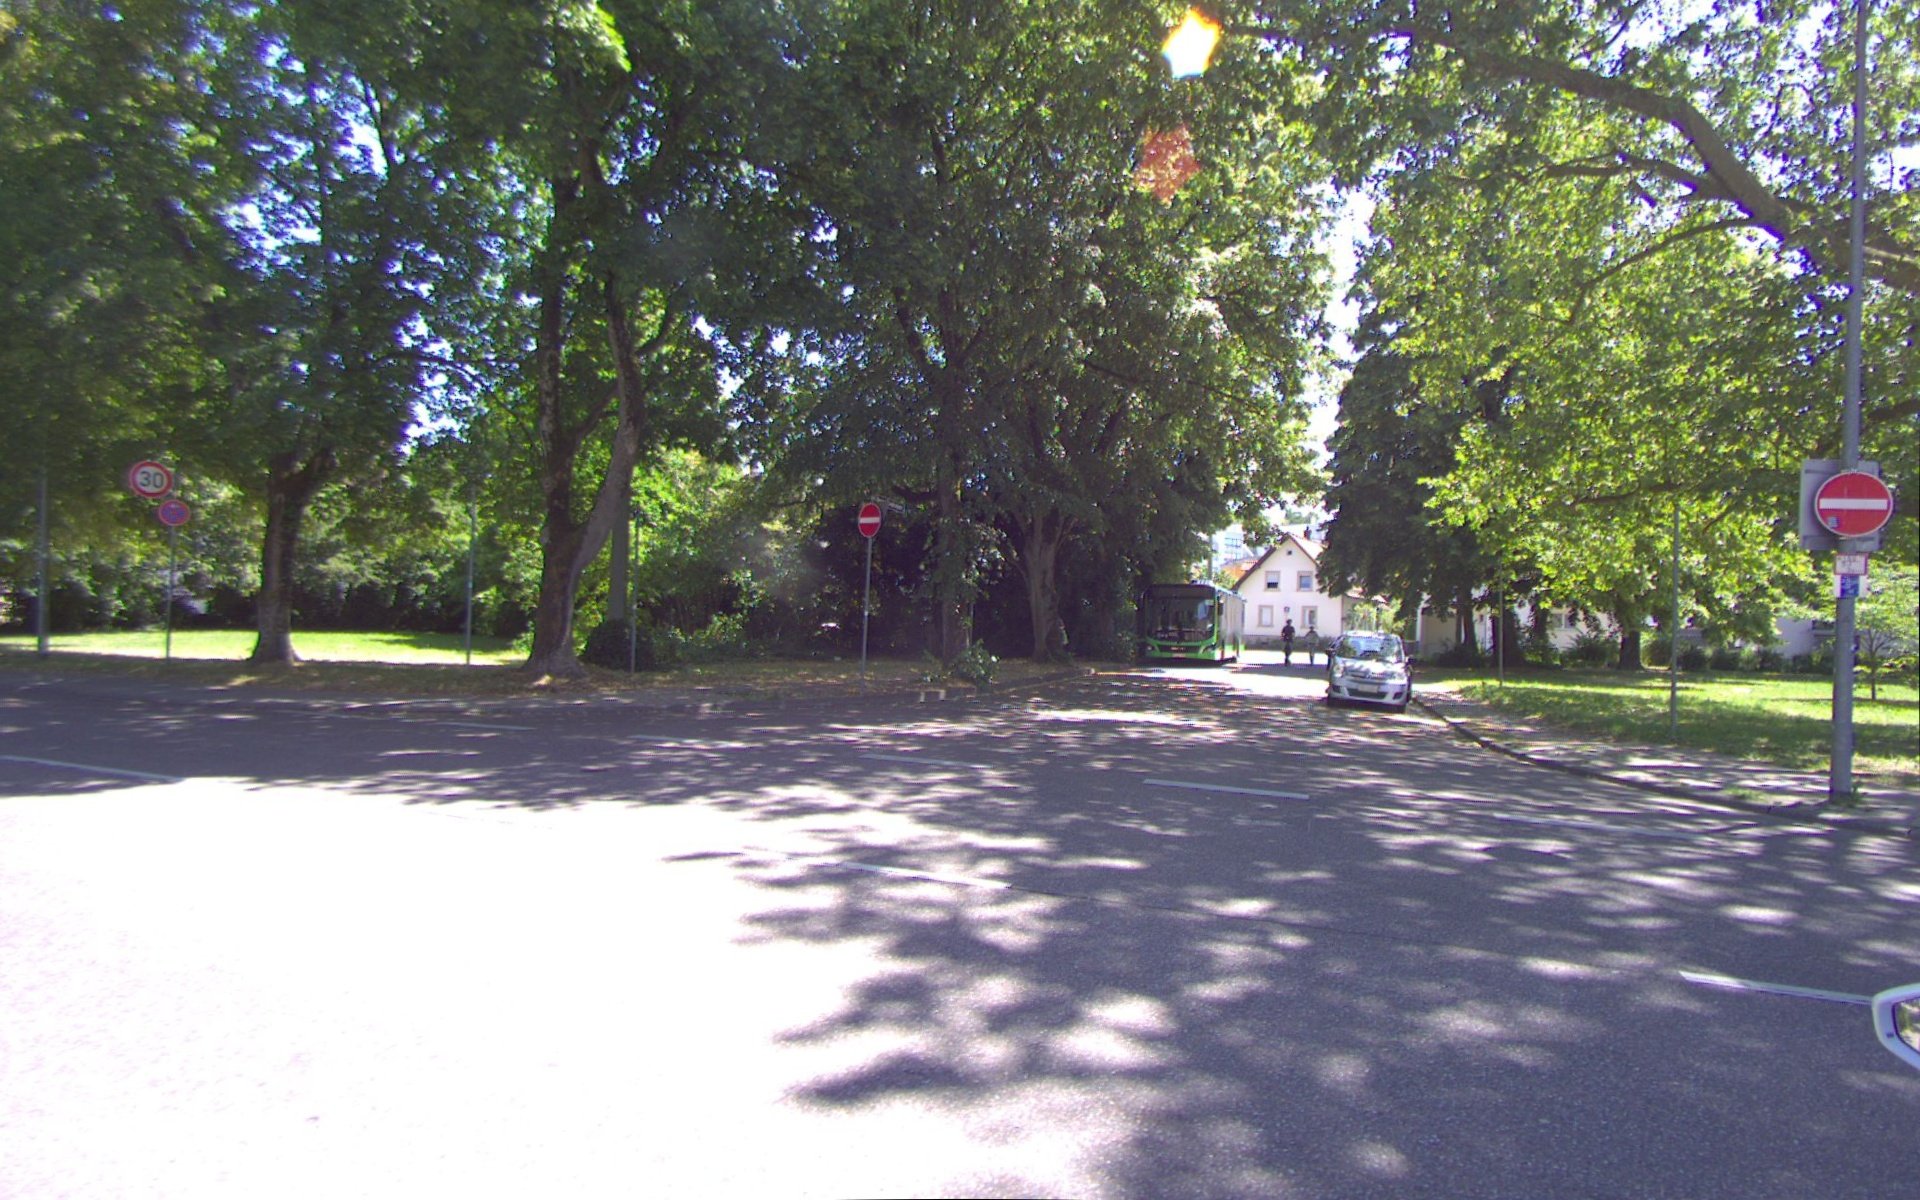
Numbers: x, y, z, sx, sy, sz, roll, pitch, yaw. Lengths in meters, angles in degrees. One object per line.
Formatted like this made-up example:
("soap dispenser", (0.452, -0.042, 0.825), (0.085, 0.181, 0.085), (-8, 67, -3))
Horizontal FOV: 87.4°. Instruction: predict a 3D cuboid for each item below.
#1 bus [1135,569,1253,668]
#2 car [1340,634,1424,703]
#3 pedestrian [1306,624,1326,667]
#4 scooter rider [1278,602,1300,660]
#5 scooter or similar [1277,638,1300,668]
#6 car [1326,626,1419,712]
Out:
("bus", (10.347, 0.858, 42.639), (2.821, 3.338, 15.952), (2, -1, 20))
("car", (10.643, 1.666, 25.573), (1.721, 1.458, 4.503), (3, 0, 20))
("pedestrian", (15.591, 1.978, 43.991), (0.708, 1.826, 0.940), (2, -1, 26))
("scooter rider", (13.680, 1.298, 41.742), (0.727, 2.348, 0.926), (2, -1, 24))
("scooter or similar", (13.659, 2.195, 41.750), (0.727, 1.199, 1.518), (1, -1, 24))
("car", (8.403, 1.341, 20.661), (1.569, 1.517, 3.486), (3, 0, 20))
